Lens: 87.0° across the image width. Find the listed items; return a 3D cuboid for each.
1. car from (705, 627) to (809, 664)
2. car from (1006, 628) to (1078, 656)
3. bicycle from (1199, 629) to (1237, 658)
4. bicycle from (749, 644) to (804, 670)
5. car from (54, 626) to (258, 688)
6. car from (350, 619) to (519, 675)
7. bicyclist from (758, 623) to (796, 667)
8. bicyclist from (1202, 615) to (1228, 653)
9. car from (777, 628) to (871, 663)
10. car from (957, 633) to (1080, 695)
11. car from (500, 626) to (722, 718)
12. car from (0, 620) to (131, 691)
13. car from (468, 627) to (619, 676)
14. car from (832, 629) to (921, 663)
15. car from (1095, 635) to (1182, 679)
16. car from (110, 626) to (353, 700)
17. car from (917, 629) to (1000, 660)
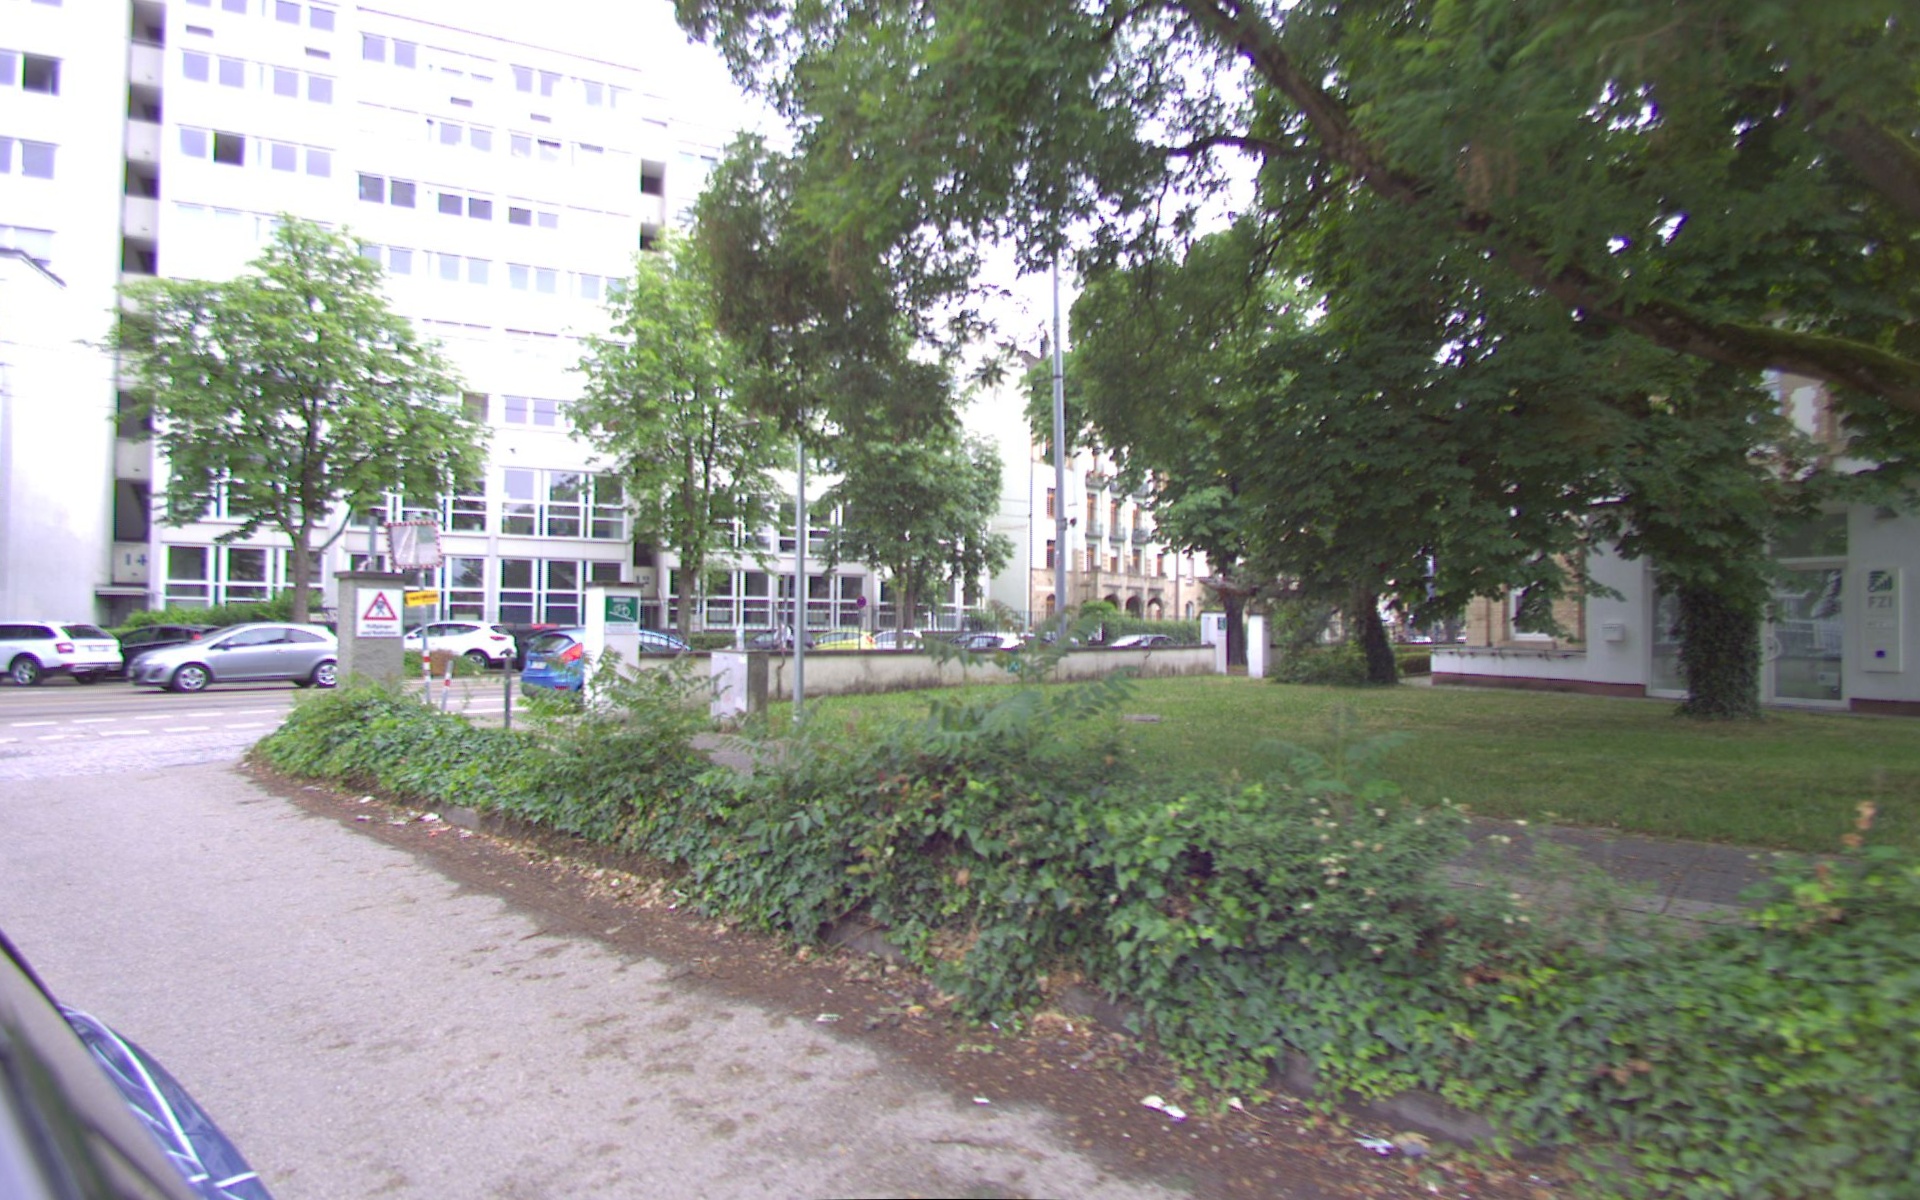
[{"bbox_3d":[-8.179,1.819,41.014,3.908,1.362,1.702,2,-1,-4],"label":"car"},{"bbox_3d":[4.576,2.336,56.278,3.688,1.396,1.690,1,-1,17],"label":"car"},{"bbox_3d":[10.729,1.819,42.130,0.667,1.125,1.839,1,-2,45],"label":"bicycle"},{"bbox_3d":[-6.539,2.032,36.181,0.470,0.875,2.109,-2,-3,41],"label":"bicycle"},{"bbox_3d":[-20.608,1.434,26.036,3.976,1.416,1.698,1,-1,3],"label":"car"},{"bbox_3d":[-16.097,1.438,31.196,4.277,1.568,1.703,2,-1,-8],"label":"car"},{"bbox_3d":[-6.530,1.598,36.149,0.846,1.512,1.013,-2,-3,42],"label":"bicyclist"},{"bbox_3d":[10.590,1.407,42.040,0.664,1.581,0.972,0,-2,43],"label":"bicyclist"},{"bbox_3d":[-5.810,1.952,43.565,3.908,1.362,1.702,2,-1,-4],"label":"car"},{"bbox_3d":[1.620,1.670,27.185,1.479,1.492,3.517,1,-1,40],"label":"car"},{"bbox_3d":[-6.141,1.221,18.046,1.678,1.472,3.386,-3,-3,40],"label":"car"},{"bbox_3d":[-22.102,1.257,23.762,3.976,1.495,1.698,1,-1,3],"label":"car"},{"bbox_3d":[-13.719,1.698,33.515,4.281,1.465,1.702,2,-1,-4],"label":"car"},{"bbox_3d":[-3.764,2.065,45.710,3.908,1.362,1.702,2,-1,-4],"label":"car"},{"bbox_3d":[5.803,1.788,32.665,1.511,1.312,3.138,-1,-2,37],"label":"car"},{"bbox_3d":[-15.631,1.292,21.863,1.745,1.440,3.946,-1,-2,40],"label":"car"},{"bbox_3d":[-0.093,2.142,49.322,3.908,1.362,1.702,2,-1,-4],"label":"car"}]
